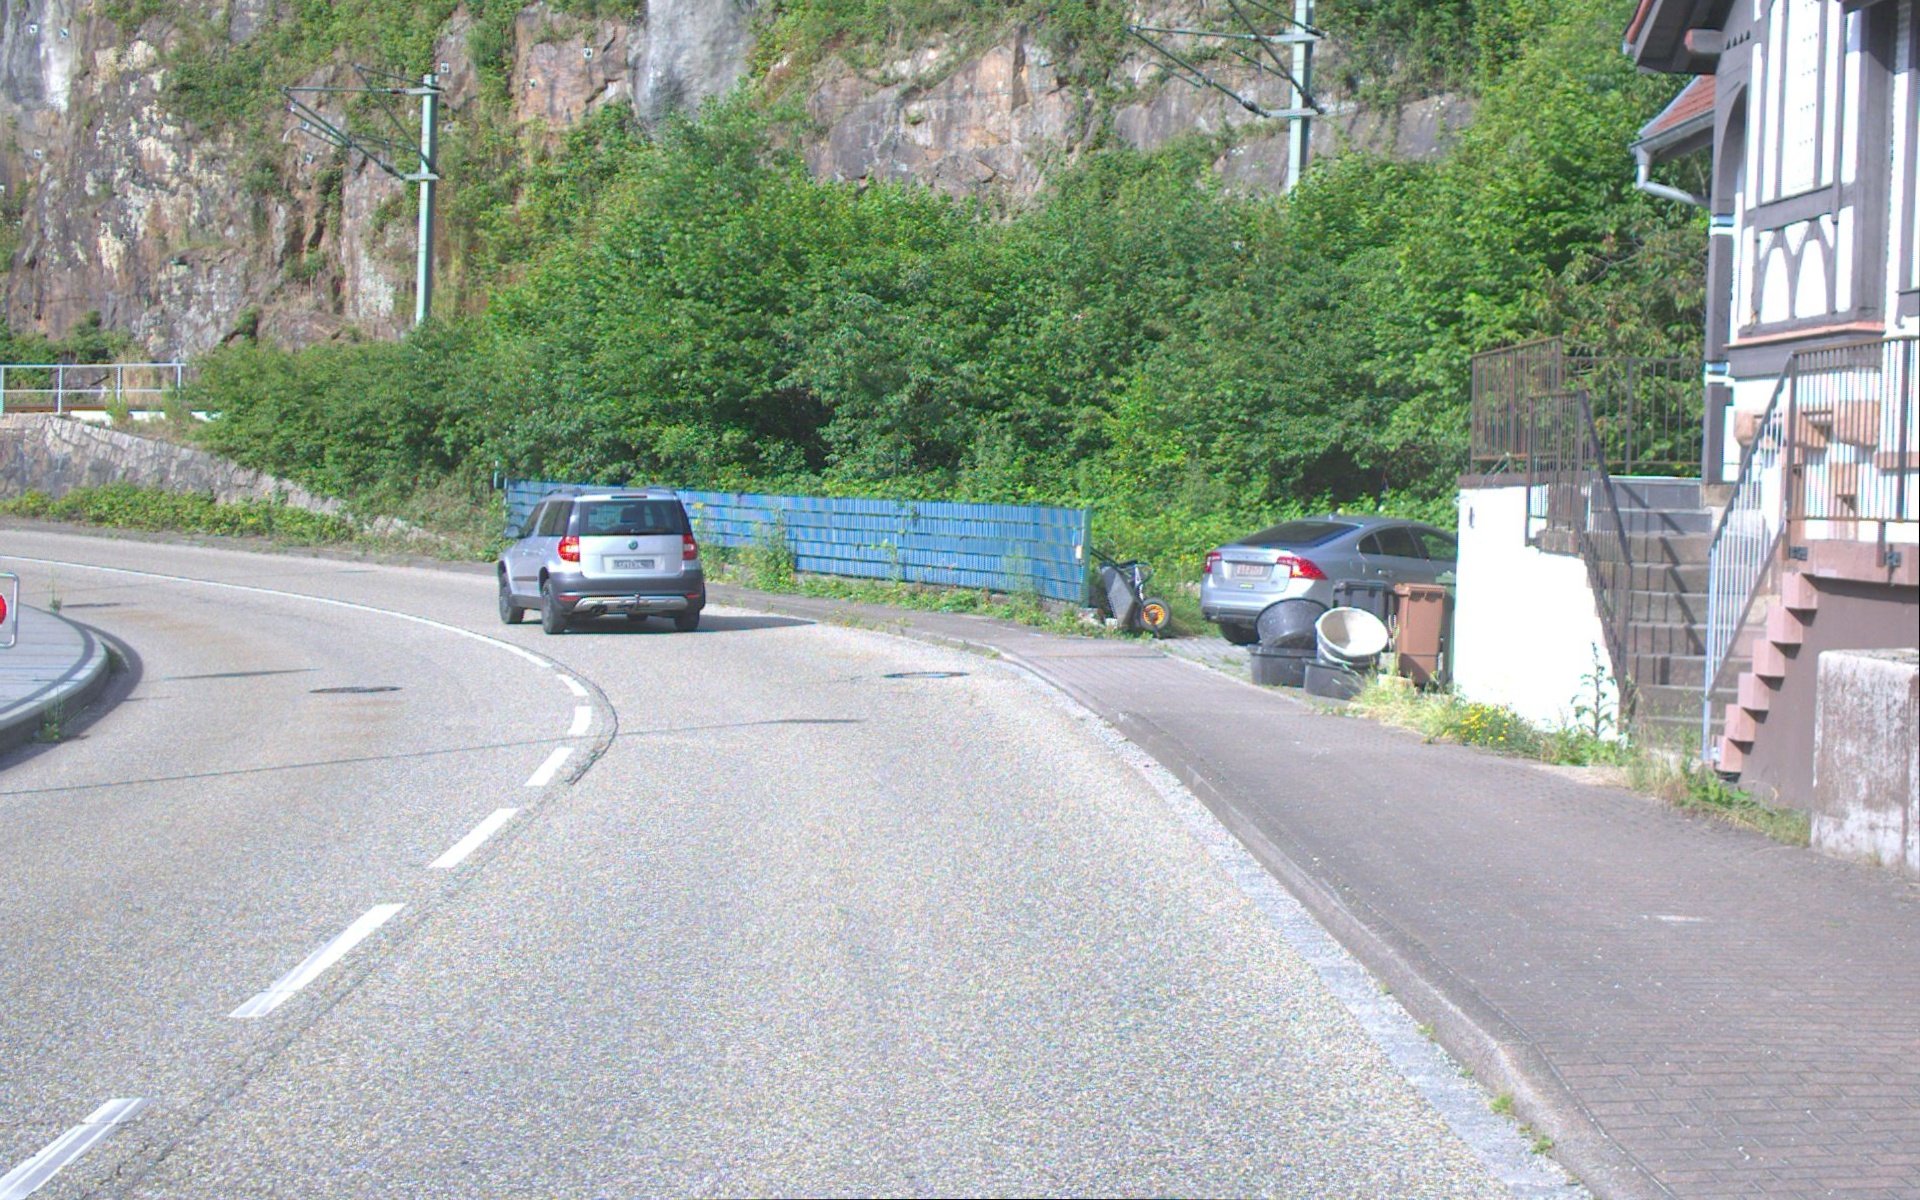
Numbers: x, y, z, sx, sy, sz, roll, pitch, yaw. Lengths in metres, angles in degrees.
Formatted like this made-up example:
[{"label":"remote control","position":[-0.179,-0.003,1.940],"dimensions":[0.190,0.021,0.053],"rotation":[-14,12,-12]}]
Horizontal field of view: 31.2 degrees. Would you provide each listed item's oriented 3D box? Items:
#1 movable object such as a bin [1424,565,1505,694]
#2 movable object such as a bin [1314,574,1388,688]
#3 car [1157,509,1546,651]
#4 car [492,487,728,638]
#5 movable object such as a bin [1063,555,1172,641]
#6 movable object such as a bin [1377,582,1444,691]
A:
[{"label":"movable object such as a bin","position":[4.340,0.247,29.621],"dimensions":[0.477,1.059,0.753],"rotation":[2,2,-5]},{"label":"movable object such as a bin","position":[3.379,0.262,29.736],"dimensions":[0.471,0.933,0.652],"rotation":[2,2,-5]},{"label":"car","position":[4.329,-0.209,37.595],"dimensions":[4.317,1.464,1.837],"rotation":[0,1,-43]},{"label":"car","position":[-4.134,-0.475,40.042],"dimensions":[1.872,1.650,4.001],"rotation":[-1,2,-19]},{"label":"movable object such as a bin","position":[1.751,-0.040,38.706],"dimensions":[0.855,0.844,2.539],"rotation":[3,2,-5]},{"label":"movable object such as a bin","position":[3.880,0.311,29.640],"dimensions":[0.367,0.897,0.547],"rotation":[2,2,-11]}]
